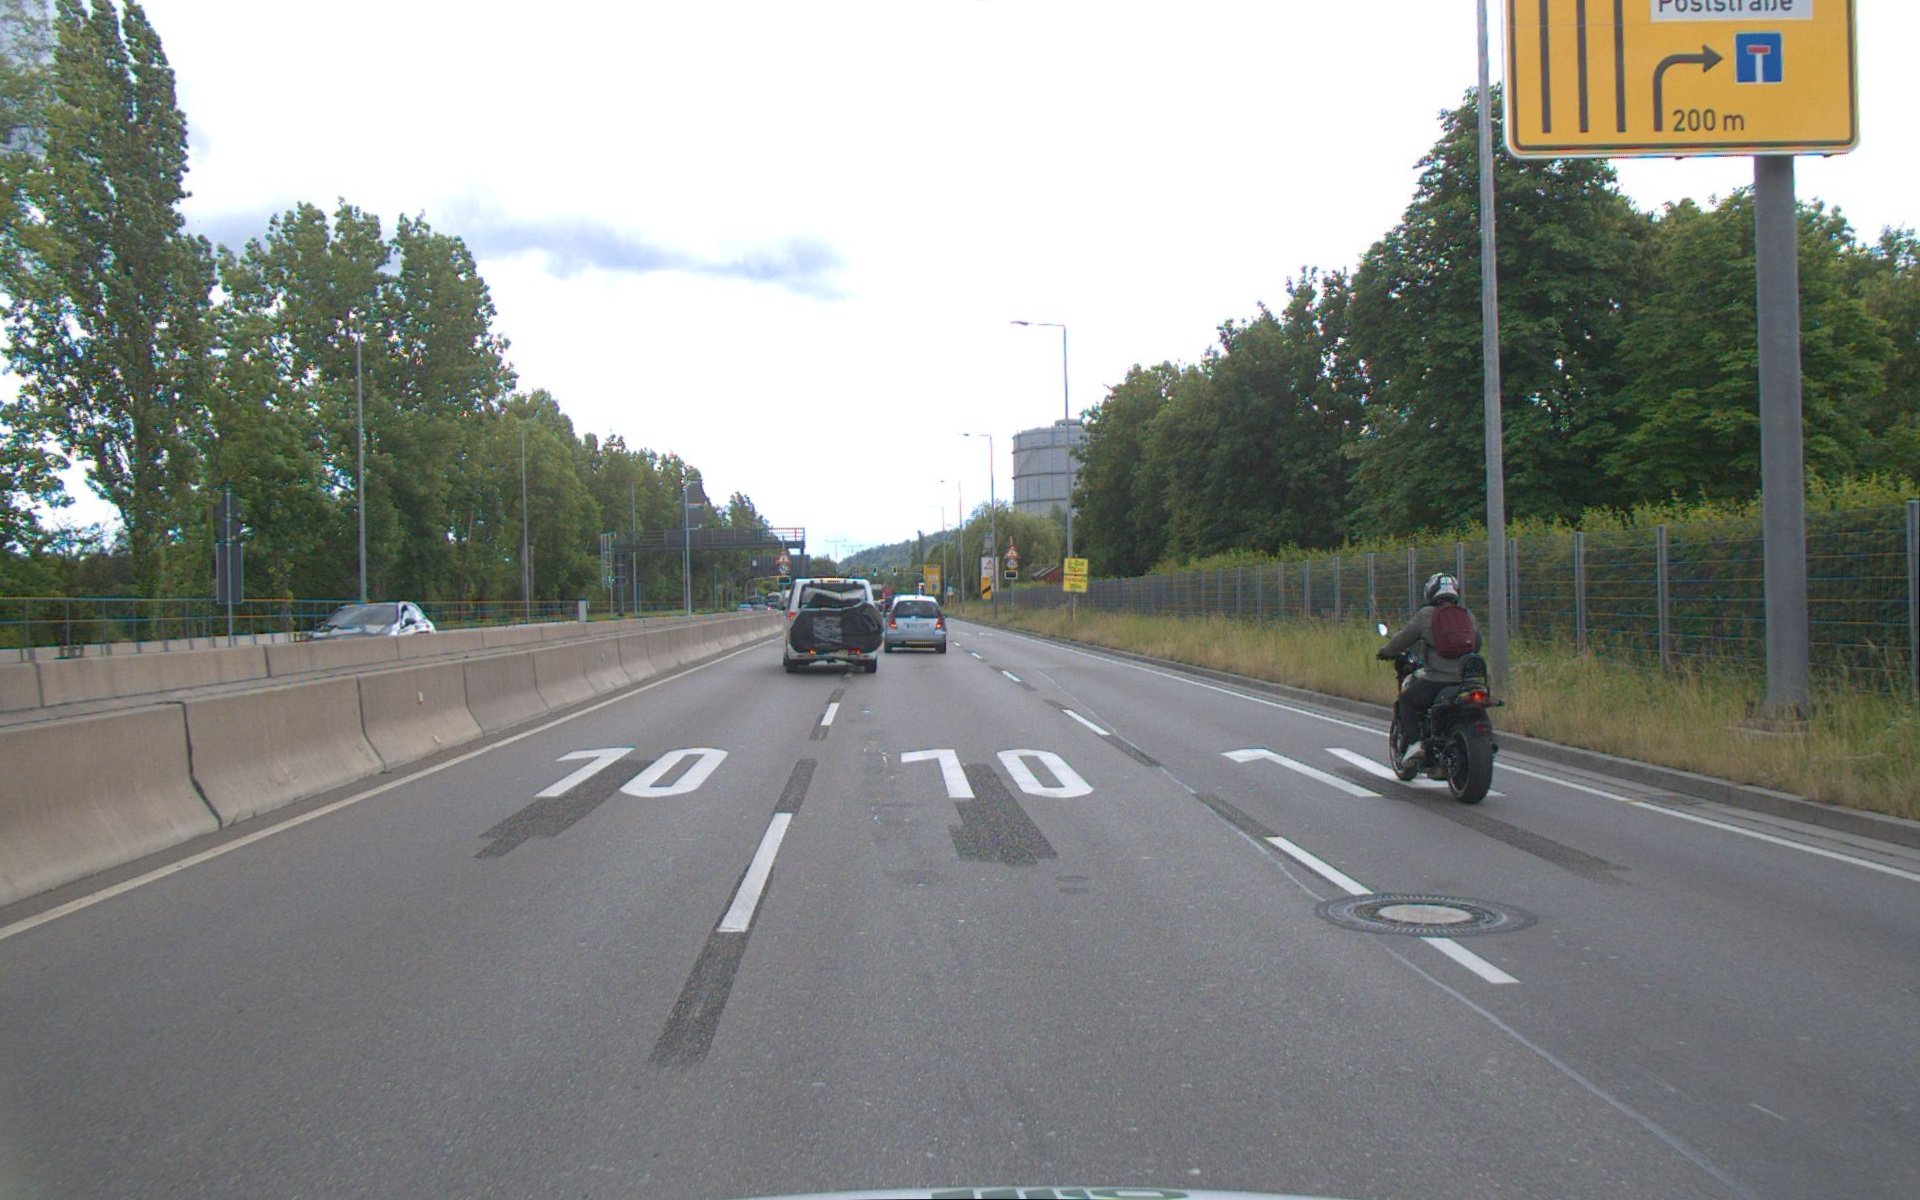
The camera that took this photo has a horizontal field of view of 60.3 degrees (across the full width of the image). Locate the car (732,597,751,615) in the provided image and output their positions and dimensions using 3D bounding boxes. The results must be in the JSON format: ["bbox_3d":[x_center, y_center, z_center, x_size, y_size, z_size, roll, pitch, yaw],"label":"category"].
[{"bbox_3d":[-26.478,0.728,200.626,1.954,2.049,3.996,1,0,-5],"label":"car"}]

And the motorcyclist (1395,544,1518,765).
[{"bbox_3d":[3.813,0.405,12.757,0.671,1.638,0.845,1,-1,-1],"label":"motorcyclist"}]

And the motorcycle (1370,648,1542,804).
[{"bbox_3d":[3.802,0.933,12.849,0.692,1.058,2.026,1,0,-1],"label":"motorcycle"}]

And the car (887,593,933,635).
[{"bbox_3d":[-2.170,0.604,71.105,1.869,1.713,3.998,1,0,-2],"label":"car"}]

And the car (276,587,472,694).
[{"bbox_3d":[-11.667,0.762,33.335,2.282,1.959,5.000,1,0,-2],"label":"car"}]

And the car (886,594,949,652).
[{"bbox_3d":[-1.265,0.630,47.316,1.676,1.557,3.997,1,0,-3],"label":"car"}]

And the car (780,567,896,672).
[{"bbox_3d":[-2.550,0.387,33.872,2.172,1.959,4.996,1,0,-6],"label":"car"}]
